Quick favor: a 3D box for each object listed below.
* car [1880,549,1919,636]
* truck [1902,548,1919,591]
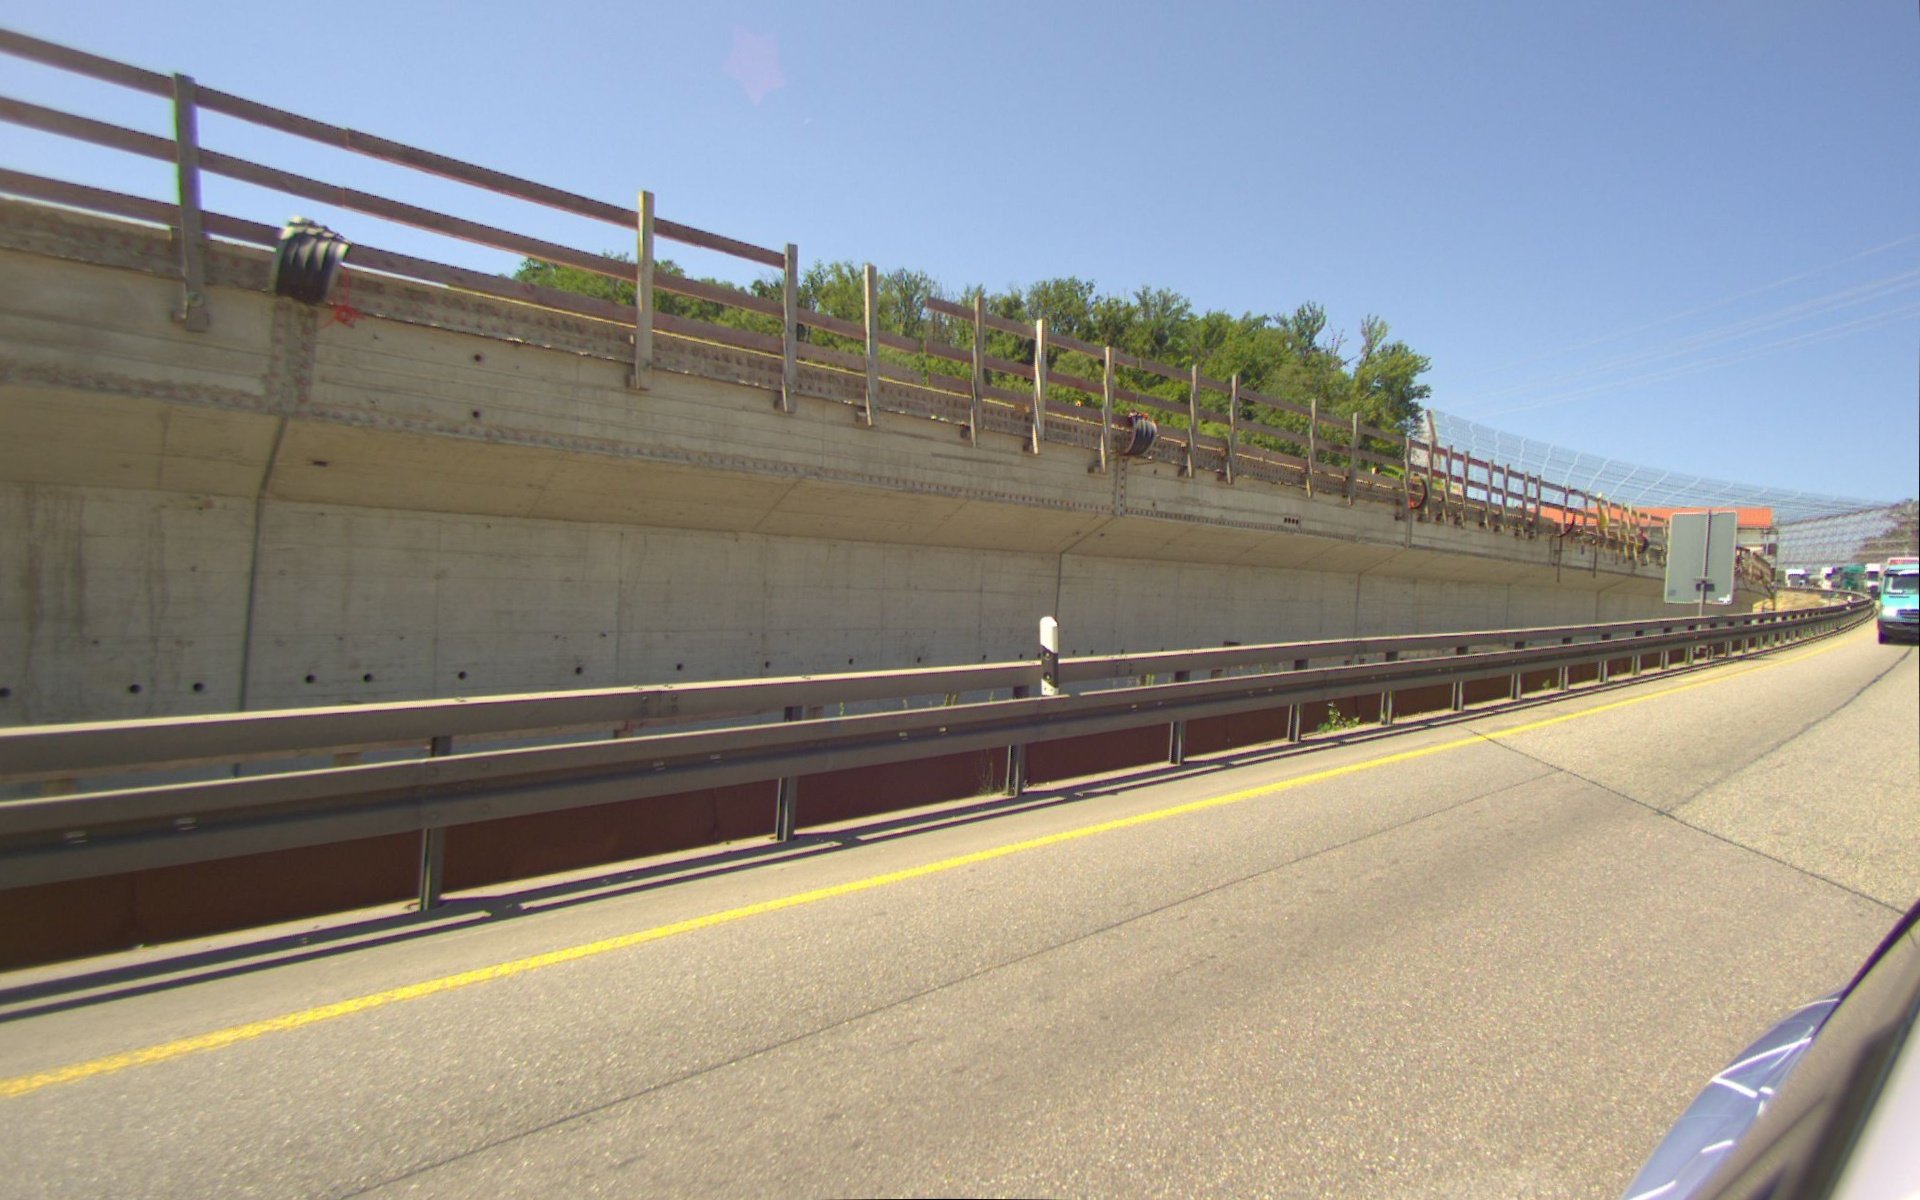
[{"bbox_3d":[28.779,-0.266,29.705,6.789,2.355,2.213,-2,2,-44],"label":"car"},{"bbox_3d":[81.788,-2.578,85.806,2.462,3.528,9.722,-1,1,41],"label":"truck"}]
